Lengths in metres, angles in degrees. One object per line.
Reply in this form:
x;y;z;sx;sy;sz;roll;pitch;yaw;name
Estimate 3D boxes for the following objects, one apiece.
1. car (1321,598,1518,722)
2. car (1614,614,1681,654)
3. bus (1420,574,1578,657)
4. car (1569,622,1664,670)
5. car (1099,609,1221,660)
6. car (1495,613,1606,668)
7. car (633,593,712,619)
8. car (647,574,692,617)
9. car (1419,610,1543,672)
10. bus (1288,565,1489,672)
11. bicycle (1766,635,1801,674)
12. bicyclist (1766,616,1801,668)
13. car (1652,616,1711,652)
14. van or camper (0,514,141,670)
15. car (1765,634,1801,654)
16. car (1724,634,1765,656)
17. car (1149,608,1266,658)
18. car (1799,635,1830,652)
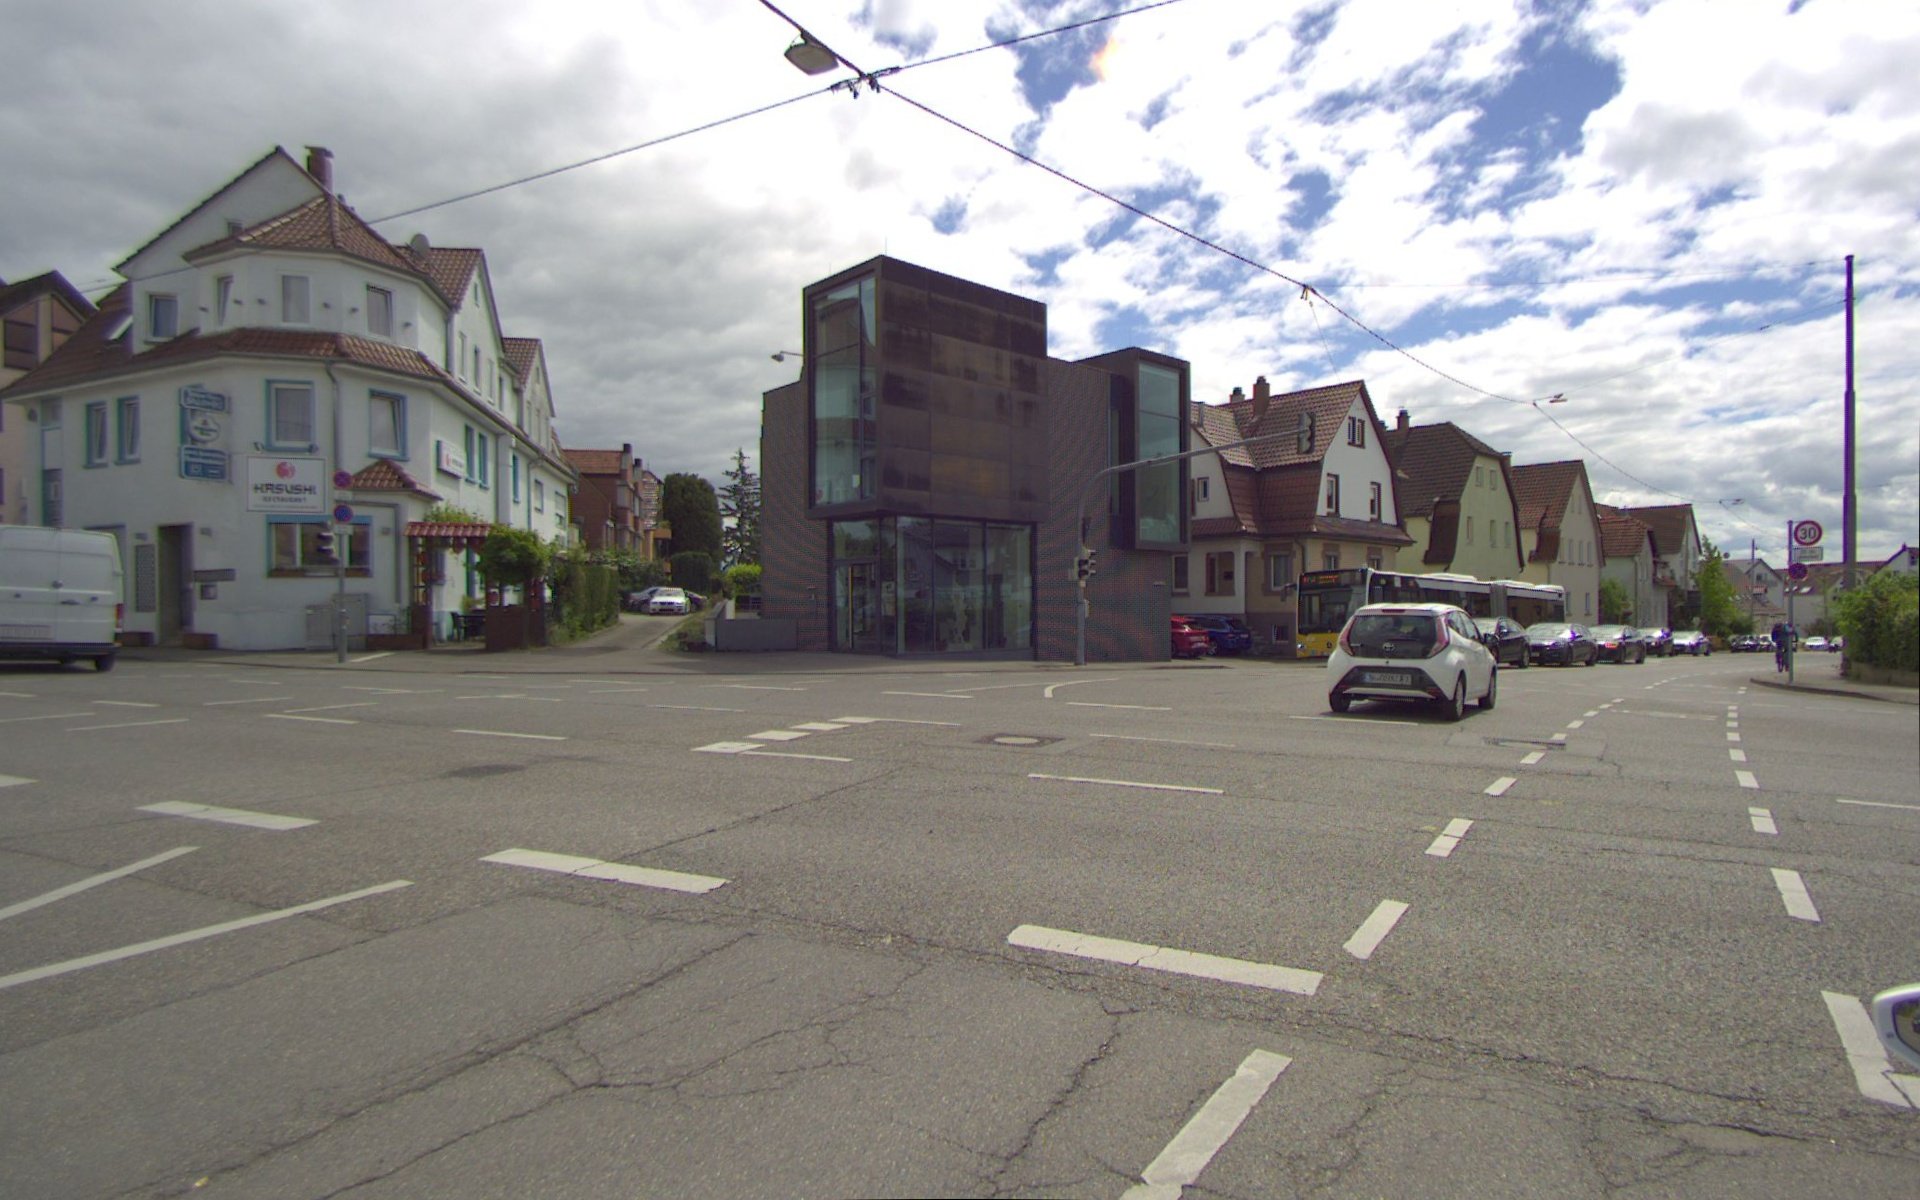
6.470;0.758;13.959;1.717;1.479;3.517;0;-1;38;car
37.392;1.809;54.603;3.965;2.040;1.978;1;0;-39;car
21.582;0.607;39.912;9.126;2.953;2.751;1;0;-43;bus
24.410;1.659;37.299;3.969;1.662;1.976;1;0;-41;car
7.313;1.225;36.913;1.987;1.662;3.947;1;1;-45;car
19.487;1.285;33.087;4.151;1.662;1.976;1;0;-41;car
-15.515;0.321;54.357;3.926;1.327;1.532;1;0;-8;car
-14.564;-0.217;50.538;1.966;2.040;3.989;1;0;-14;car
15.471;1.165;29.764;3.969;1.662;1.976;1;0;-41;car
14.487;0.593;33.476;9.126;3.101;2.751;1;0;-43;bus
27.031;1.771;32.990;0.822;1.179;2.182;1;0;38;bicycle
27.069;1.360;33.030;0.830;1.636;1.078;1;1;39;bicyclist
42.636;1.968;59.312;3.969;2.040;1.976;1;0;-41;car
-17.641;-0.034;19.320;5.566;2.620;2.103;-2;-4;43;van or camper
76.112;4.056;92.886;3.969;1.662;1.976;1;0;-41;car
64.520;3.652;82.569;3.969;1.662;1.976;1;0;-41;car
9.562;1.249;38.986;1.987;1.706;3.946;1;1;-45;car
92.666;4.717;108.932;3.969;1.662;1.976;1;0;-41;car
